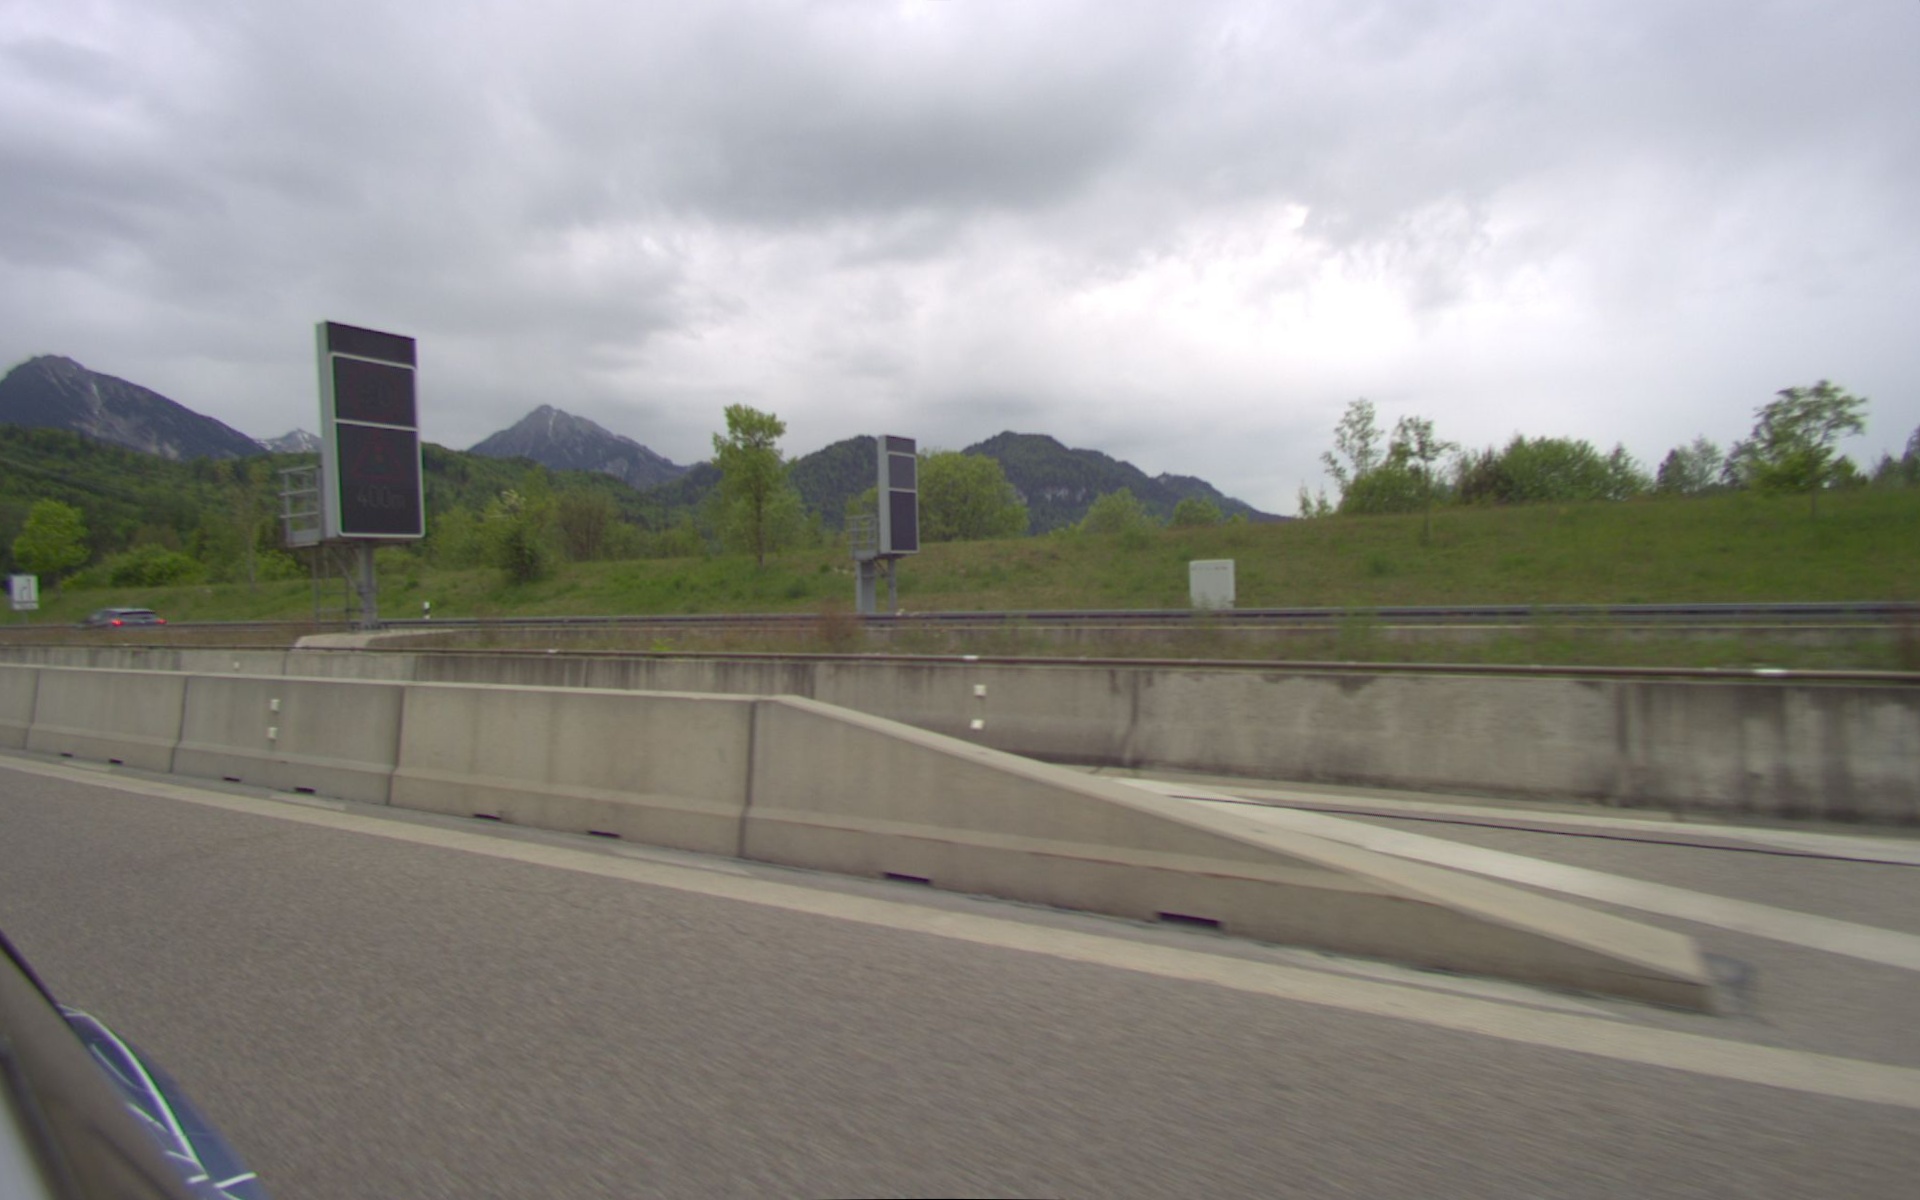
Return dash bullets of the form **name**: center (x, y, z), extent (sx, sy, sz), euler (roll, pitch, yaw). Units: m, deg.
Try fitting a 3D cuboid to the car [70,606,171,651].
- **car**: center (-30.966, 1.048, 37.315), extent (3.822, 1.512, 1.596), euler (-1, 1, 30)
